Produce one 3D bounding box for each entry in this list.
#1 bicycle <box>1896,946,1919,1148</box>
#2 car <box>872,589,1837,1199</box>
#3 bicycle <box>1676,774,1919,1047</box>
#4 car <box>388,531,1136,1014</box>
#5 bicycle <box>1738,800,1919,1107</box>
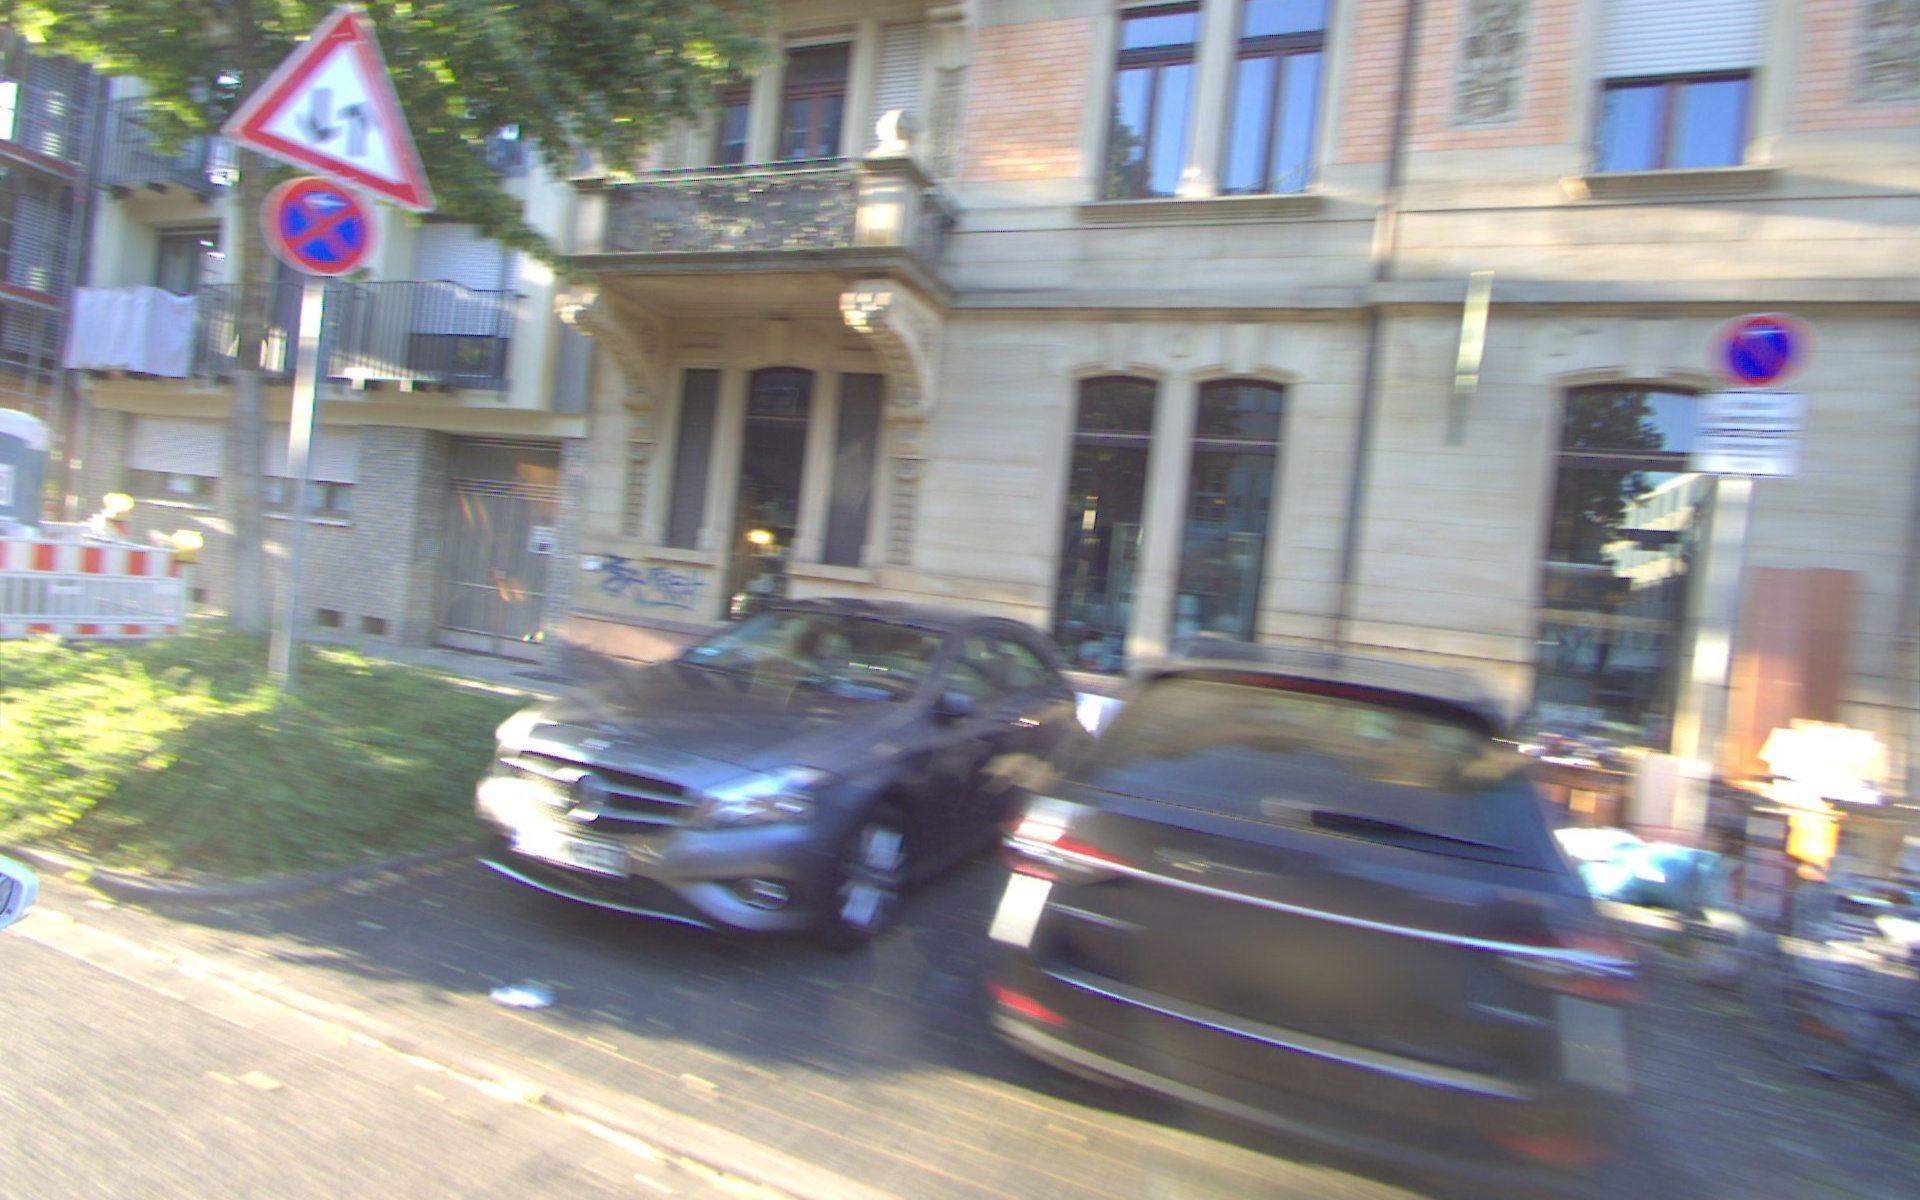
[{"bbox_3d":[4.142,1.471,2.982,1.798,1.026,0.639,7,1,21],"label":"bicycle"},{"bbox_3d":[1.550,0.926,4.375,1.876,1.530,4.539,6,0,22],"label":"car"},{"bbox_3d":[4.691,1.535,4.671,2.071,1.053,0.465,7,1,21],"label":"bicycle"},{"bbox_3d":[-0.530,0.660,5.818,1.834,1.498,4.537,6,0,25],"label":"car"},{"bbox_3d":[4.443,1.515,3.891,2.071,1.026,0.639,7,1,21],"label":"bicycle"}]
